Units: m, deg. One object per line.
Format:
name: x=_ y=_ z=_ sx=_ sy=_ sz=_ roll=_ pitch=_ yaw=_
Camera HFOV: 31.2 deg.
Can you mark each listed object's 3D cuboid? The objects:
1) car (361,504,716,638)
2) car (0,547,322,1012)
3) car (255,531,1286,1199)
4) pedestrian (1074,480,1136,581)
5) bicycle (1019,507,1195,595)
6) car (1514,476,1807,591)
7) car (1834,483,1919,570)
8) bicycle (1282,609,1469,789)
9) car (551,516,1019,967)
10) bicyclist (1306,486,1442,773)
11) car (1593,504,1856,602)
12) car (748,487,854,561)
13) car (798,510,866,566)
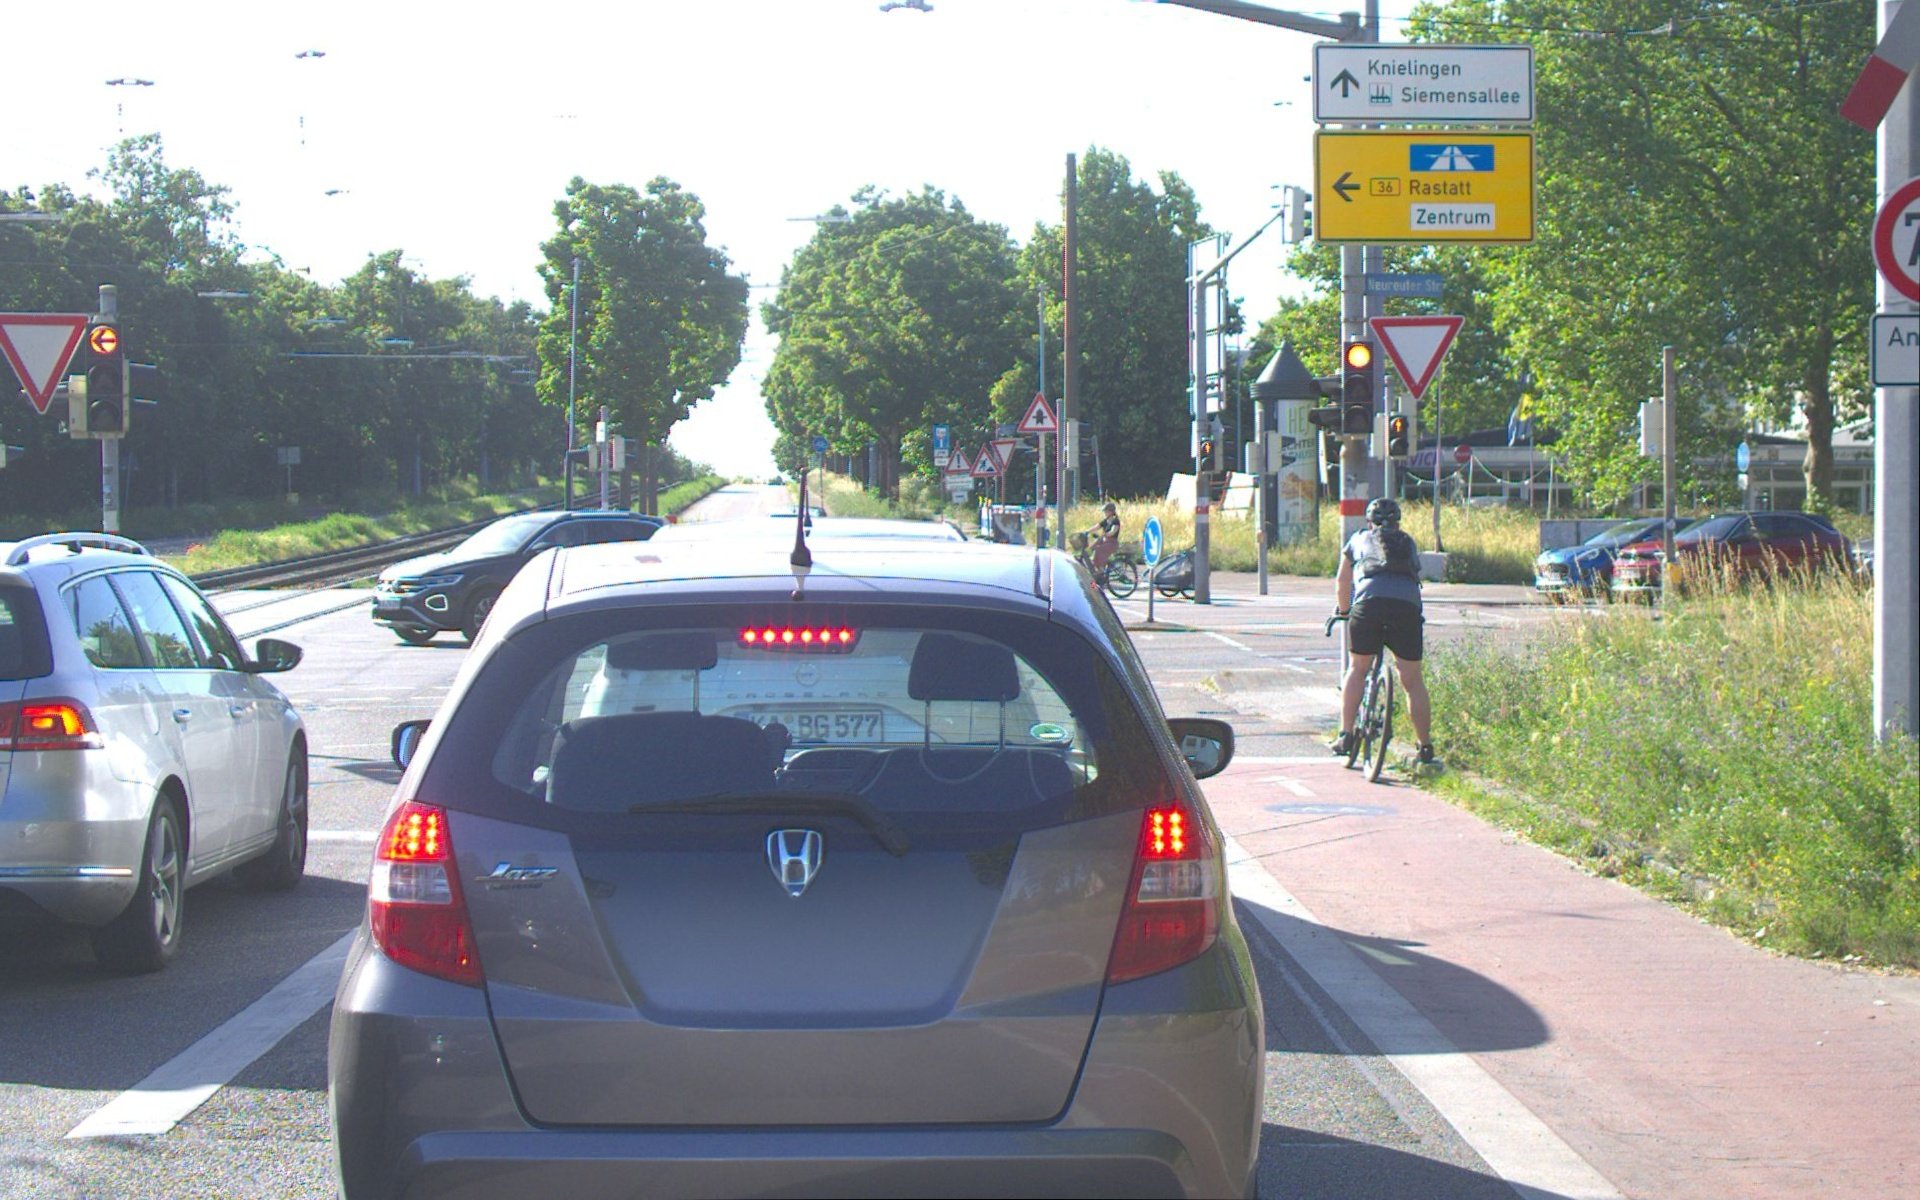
car: x=-5.094 y=-0.377 z=41.720 sx=3.971 sy=1.539 sz=1.592 roll=-1 pitch=1 yaw=-33
car: x=-3.531 y=0.529 z=12.790 sx=1.619 sy=1.452 sz=4.085 roll=1 pitch=1 yaw=-1
car: x=-0.393 y=0.583 z=7.372 sx=1.668 sy=1.457 sz=3.587 roll=0 pitch=1 yaw=-3
pedestrian: x=2.642 y=-1.273 z=62.892 sx=0.852 sy=1.830 sz=0.791 roll=-1 pitch=1 yaw=-26
bicycle: x=2.700 y=-0.907 z=62.912 sx=3.203 sy=1.569 sz=0.821 roll=-1 pitch=1 yaw=-25
car: x=12.278 y=-1.148 z=60.263 sx=4.686 sy=1.873 sz=2.001 roll=1 pitch=1 yaw=-23
car: x=18.078 y=-1.358 z=63.200 sx=3.742 sy=1.564 sz=1.491 roll=-1 pitch=1 yaw=-23
bicycle: x=2.530 y=0.575 z=21.261 sx=0.722 sy=0.985 sz=2.876 roll=1 pitch=1 yaw=-1
car: x=-0.647 y=0.450 z=14.007 sx=1.611 sy=1.557 sz=4.288 roll=0 pitch=1 yaw=-1
bicyclist: x=2.541 y=0.172 z=21.175 sx=0.666 sy=1.710 sz=0.948 roll=1 pitch=0 yaw=-1
car: x=12.450 y=-0.779 z=55.980 sx=3.986 sy=1.525 sz=1.606 roll=-1 pitch=1 yaw=-23
car: x=-3.241 y=-1.560 z=70.755 sx=1.710 sy=1.473 sz=4.000 roll=0 pitch=1 yaw=4
car: x=-3.284 y=-1.581 z=87.535 sx=1.522 sy=1.374 sz=3.677 roll=0 pitch=1 yaw=-5
